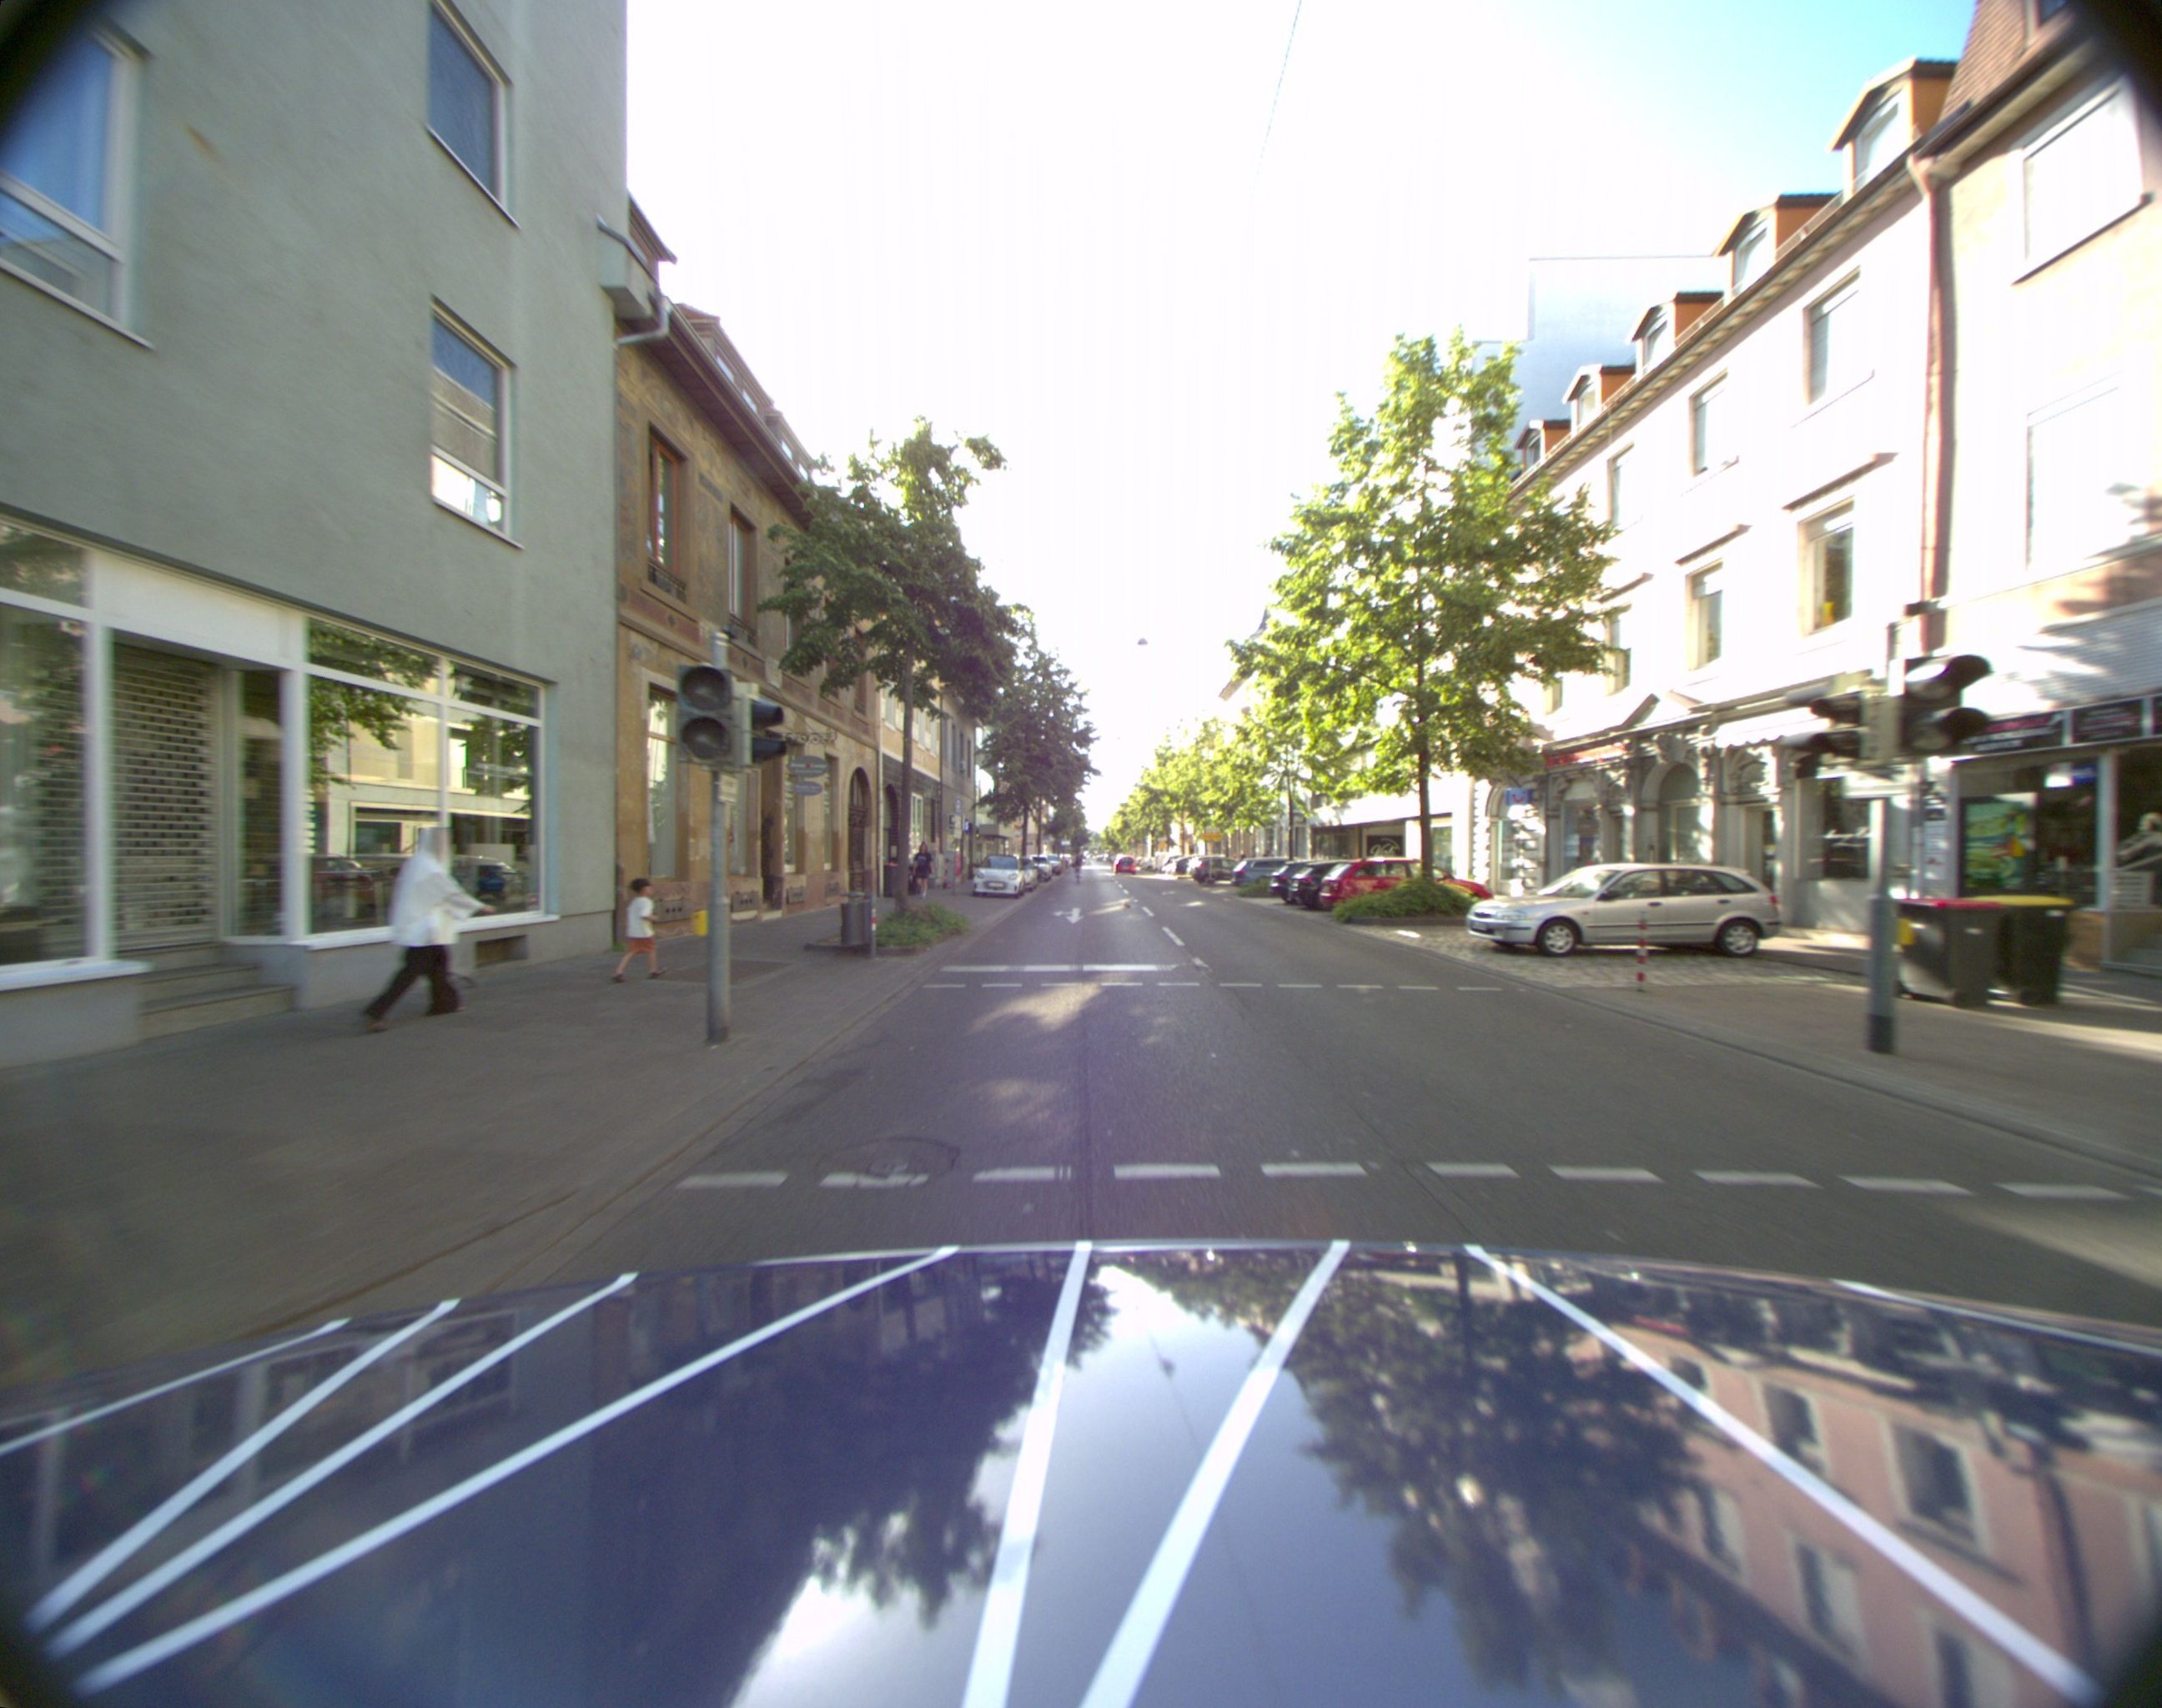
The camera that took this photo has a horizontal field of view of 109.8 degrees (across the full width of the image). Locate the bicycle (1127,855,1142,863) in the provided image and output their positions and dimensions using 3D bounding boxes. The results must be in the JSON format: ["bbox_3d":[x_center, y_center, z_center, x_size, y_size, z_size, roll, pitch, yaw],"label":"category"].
[{"bbox_3d":[7.635,0.728,108.705,2.006,1.023,0.473,-2,1,-12],"label":"bicycle"}]

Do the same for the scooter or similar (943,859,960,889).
[{"bbox_3d":[-5.282,0.789,31.023,0.400,1.180,1.168,2,1,2],"label":"scooter or similar"}]

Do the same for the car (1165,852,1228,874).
[{"bbox_3d":[8.454,0.633,55.805,4.377,1.561,1.946,0,0,1],"label":"car"}]

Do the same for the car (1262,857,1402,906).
[{"bbox_3d":[8.004,0.859,24.484,3.928,1.477,1.771,-1,0,2],"label":"car"}]

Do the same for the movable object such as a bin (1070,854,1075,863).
[{"bbox_3d":[-1.130,0.598,99.087,0.634,1.062,0.602,1,2,2],"label":"movable object such as a bin"}]

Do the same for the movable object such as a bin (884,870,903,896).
[{"bbox_3d":[-6.255,0.959,25.351,0.512,0.855,0.479,0,1,2],"label":"movable object such as a bin"}]

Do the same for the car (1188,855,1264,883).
[{"bbox_3d":[7.968,0.807,41.870,3.790,1.450,1.780,0,0,-3],"label":"car"}]

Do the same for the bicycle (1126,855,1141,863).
[{"bbox_3d":[7.541,0.719,109.128,2.006,1.023,0.473,-2,1,-12],"label":"bicycle"}]

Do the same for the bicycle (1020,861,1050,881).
[{"bbox_3d":[-2.595,0.942,42.988,1.626,1.007,0.611,4,0,-1],"label":"bicycle"}]

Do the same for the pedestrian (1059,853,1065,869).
[{"bbox_3d":[-1.857,0.704,73.668,0.474,1.520,0.462,-1,1,2],"label":"pedestrian"}]

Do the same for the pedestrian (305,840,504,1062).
[{"bbox_3d":[-5.202,0.690,5.917,0.582,1.550,1.020,3,1,-1],"label":"pedestrian"}]

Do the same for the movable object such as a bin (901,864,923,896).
[{"bbox_3d":[-5.673,0.877,25.533,0.523,1.034,0.722,2,1,2],"label":"movable object such as a bin"}]

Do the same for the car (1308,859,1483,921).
[{"bbox_3d":[7.916,0.890,19.377,3.757,1.459,1.739,-1,0,0],"label":"car"}]

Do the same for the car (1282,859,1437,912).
[{"bbox_3d":[7.967,0.891,21.980,3.850,1.420,1.790,-1,0,2],"label":"car"}]

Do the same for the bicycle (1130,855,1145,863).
[{"bbox_3d":[7.936,0.742,107.193,2.006,1.023,0.473,-2,1,-12],"label":"bicycle"}]

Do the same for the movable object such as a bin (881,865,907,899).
[{"bbox_3d":[-5.868,0.866,23.890,0.590,1.034,0.722,2,1,2],"label":"movable object such as a bin"}]

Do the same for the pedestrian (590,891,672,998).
[{"bbox_3d":[-4.746,0.932,8.044,0.394,1.027,0.739,3,1,-1],"label":"pedestrian"}]

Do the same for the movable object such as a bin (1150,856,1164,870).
[{"bbox_3d":[7.117,0.841,71.375,1.240,1.295,0.870,0,1,0],"label":"movable object such as a bin"}]

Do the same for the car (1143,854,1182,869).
[{"bbox_3d":[8.287,0.732,77.578,3.788,1.455,1.710,-1,0,-2],"label":"car"}]

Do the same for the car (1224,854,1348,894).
[{"bbox_3d":[8.297,0.788,30.987,4.505,1.450,1.790,-1,0,-2],"label":"car"}]

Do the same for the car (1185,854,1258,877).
[{"bbox_3d":[8.965,0.737,48.707,4.257,1.450,1.979,0,0,-3],"label":"car"}]

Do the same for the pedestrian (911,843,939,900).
[{"bbox_3d":[-4.929,0.544,24.072,0.624,1.755,0.771,2,1,2],"label":"pedestrian"}]

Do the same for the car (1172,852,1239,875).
[{"bbox_3d":[8.674,0.680,53.234,4.377,1.561,1.980,0,0,1],"label":"car"}]

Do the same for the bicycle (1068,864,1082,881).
[{"bbox_3d":[-0.346,1.096,44.981,0.805,0.958,1.996,-1,0,0],"label":"bicycle"}]

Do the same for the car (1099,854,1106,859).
[{"bbox_3d":[6.216,0.737,216.686,1.835,1.410,3.833,1,0,1],"label":"car"}]

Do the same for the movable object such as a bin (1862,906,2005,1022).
[{"bbox_3d":[8.673,1.099,7.766,0.532,1.063,0.805,1,1,0],"label":"movable object such as a bin"}]

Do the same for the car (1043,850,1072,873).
[{"bbox_3d":[-1.810,0.574,59.765,1.998,1.680,4.516,3,0,0],"label":"car"}]

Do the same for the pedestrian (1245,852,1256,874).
[{"bbox_3d":[11.576,0.602,51.908,0.594,1.485,0.842,-3,0,2],"label":"pedestrian"}]

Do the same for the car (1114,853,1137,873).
[{"bbox_3d":[3.579,0.694,61.368,1.662,1.526,3.760,2,0,1],"label":"car"}]

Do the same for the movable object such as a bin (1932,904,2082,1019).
[{"bbox_3d":[9.444,1.072,7.779,0.532,1.063,0.805,1,1,0],"label":"movable object such as a bin"}]

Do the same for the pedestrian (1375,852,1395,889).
[{"bbox_3d":[11.867,0.644,29.685,0.509,1.400,0.825,-1,0,5],"label":"pedestrian"}]

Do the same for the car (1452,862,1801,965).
[{"bbox_3d":[8.403,0.886,12.014,4.212,1.459,1.740,-1,0,3],"label":"car"}]

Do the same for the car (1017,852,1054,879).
[{"bbox_3d":[-2.702,0.664,46.144,1.888,1.518,4.233,2,0,0],"label":"car"}]

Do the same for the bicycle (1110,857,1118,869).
[{"bbox_3d":[3.243,0.893,74.247,0.727,1.162,2.197,0,0,1],"label":"bicycle"}]

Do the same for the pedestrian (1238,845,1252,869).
[{"bbox_3d":[12.375,0.217,57.471,0.776,1.756,0.763,-4,1,-1],"label":"pedestrian"}]

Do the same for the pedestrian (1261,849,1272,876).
[{"bbox_3d":[12.218,0.552,50.057,0.700,1.787,0.746,0,0,12],"label":"pedestrian"}]

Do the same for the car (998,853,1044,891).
[{"bbox_3d":[-2.618,0.752,33.923,1.618,1.520,4.234,3,0,0],"label":"car"}]

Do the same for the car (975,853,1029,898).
[{"bbox_3d":[-2.871,0.756,28.061,1.618,1.520,3.060,2,0,0],"label":"car"}]

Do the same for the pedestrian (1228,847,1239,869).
[{"bbox_3d":[11.534,0.310,57.486,0.566,1.617,0.727,-4,1,-1],"label":"pedestrian"}]

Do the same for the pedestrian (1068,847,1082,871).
[{"bbox_3d":[-0.358,0.294,44.978,0.804,1.381,0.931,-1,0,-1],"label":"pedestrian"}]

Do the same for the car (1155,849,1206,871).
[{"bbox_3d":[8.431,0.514,64.791,4.115,1.825,2.039,-1,0,1],"label":"car"}]

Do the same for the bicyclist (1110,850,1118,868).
[{"bbox_3d":[3.246,0.484,74.162,0.727,1.690,1.282,0,0,1],"label":"bicyclist"}]

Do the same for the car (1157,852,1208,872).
[{"bbox_3d":[7.983,0.615,60.060,3.809,1.549,1.792,0,0,1],"label":"car"}]
